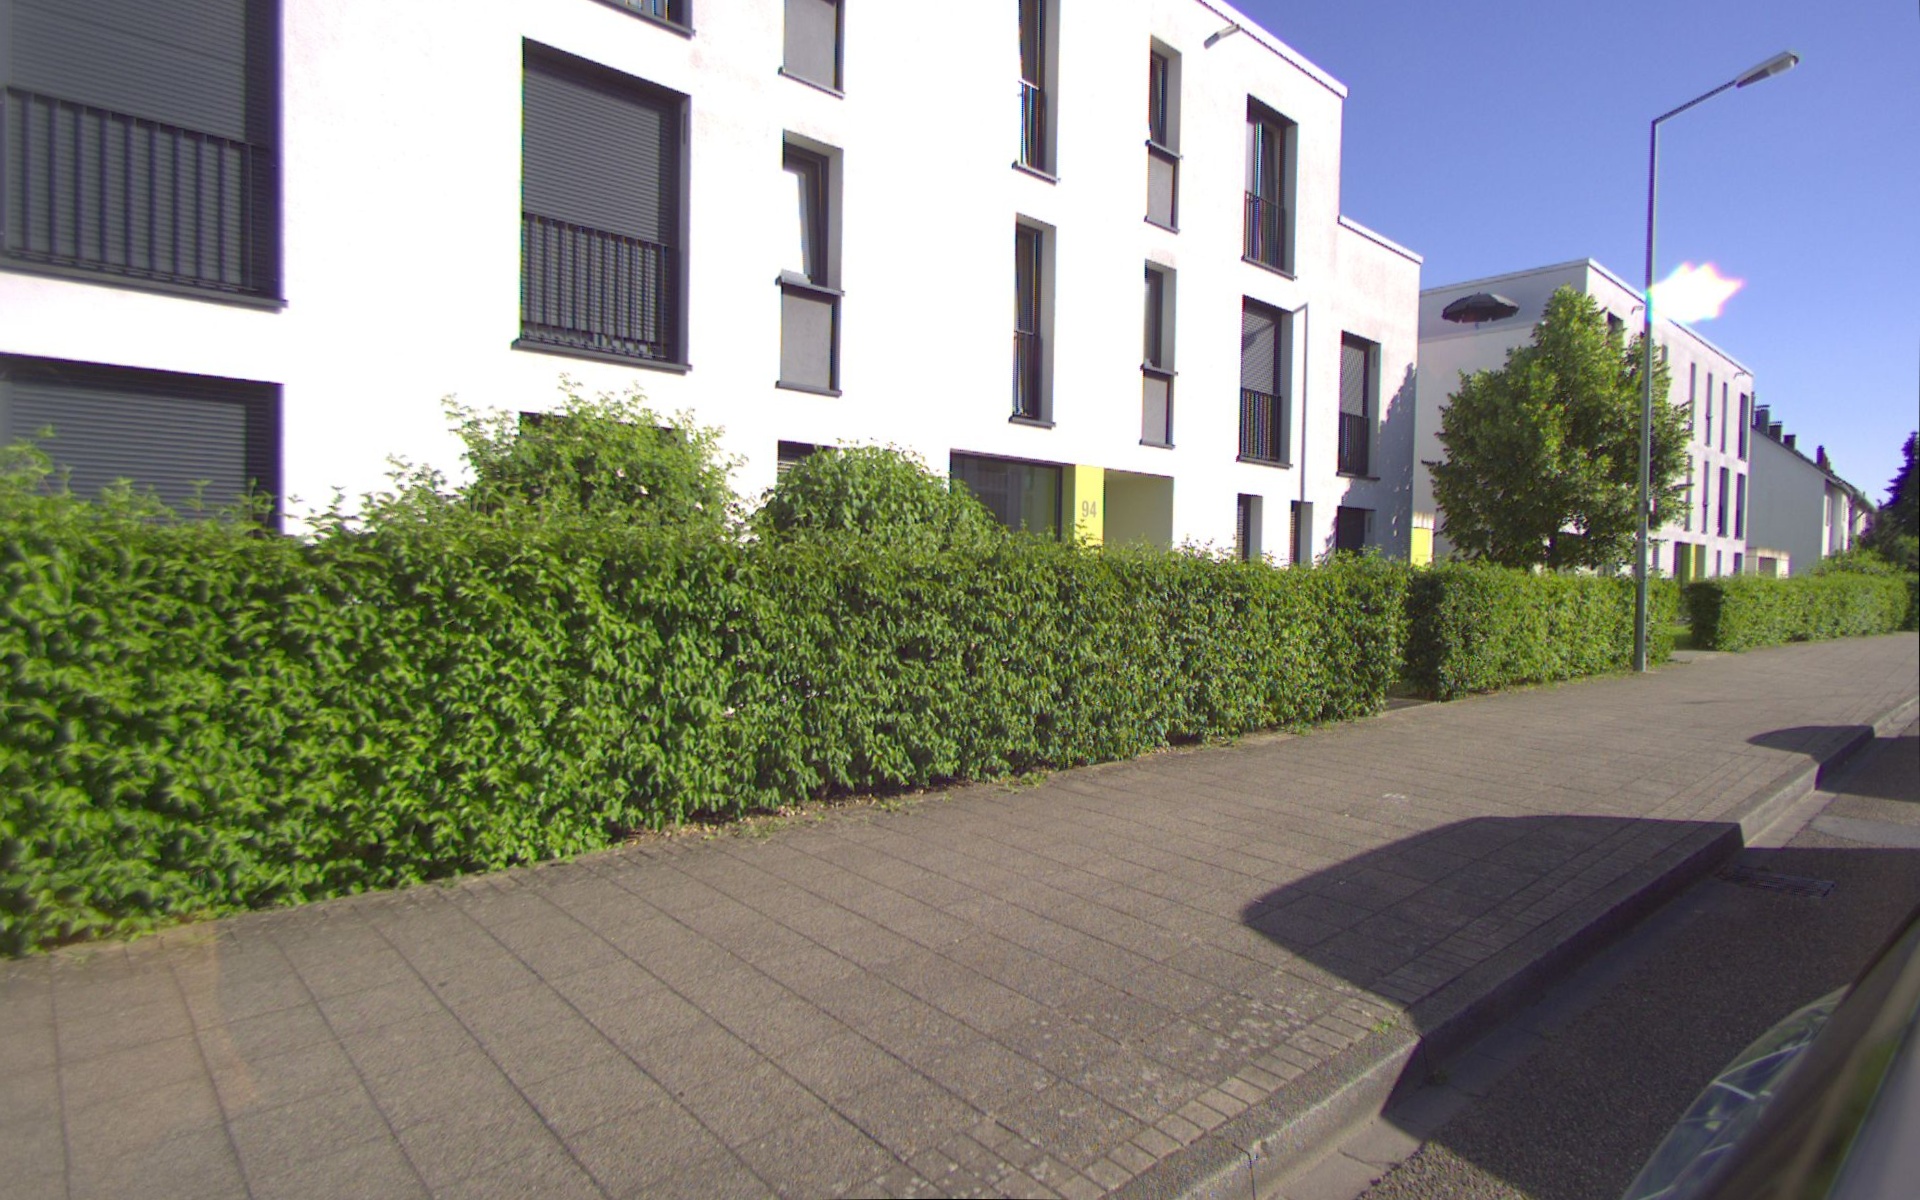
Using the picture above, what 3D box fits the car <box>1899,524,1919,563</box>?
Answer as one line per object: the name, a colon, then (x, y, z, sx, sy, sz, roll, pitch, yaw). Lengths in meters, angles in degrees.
car: (62.081, -3.585, 64.096, 6.066, 2.376, 3.181, -1, 1, -40)
